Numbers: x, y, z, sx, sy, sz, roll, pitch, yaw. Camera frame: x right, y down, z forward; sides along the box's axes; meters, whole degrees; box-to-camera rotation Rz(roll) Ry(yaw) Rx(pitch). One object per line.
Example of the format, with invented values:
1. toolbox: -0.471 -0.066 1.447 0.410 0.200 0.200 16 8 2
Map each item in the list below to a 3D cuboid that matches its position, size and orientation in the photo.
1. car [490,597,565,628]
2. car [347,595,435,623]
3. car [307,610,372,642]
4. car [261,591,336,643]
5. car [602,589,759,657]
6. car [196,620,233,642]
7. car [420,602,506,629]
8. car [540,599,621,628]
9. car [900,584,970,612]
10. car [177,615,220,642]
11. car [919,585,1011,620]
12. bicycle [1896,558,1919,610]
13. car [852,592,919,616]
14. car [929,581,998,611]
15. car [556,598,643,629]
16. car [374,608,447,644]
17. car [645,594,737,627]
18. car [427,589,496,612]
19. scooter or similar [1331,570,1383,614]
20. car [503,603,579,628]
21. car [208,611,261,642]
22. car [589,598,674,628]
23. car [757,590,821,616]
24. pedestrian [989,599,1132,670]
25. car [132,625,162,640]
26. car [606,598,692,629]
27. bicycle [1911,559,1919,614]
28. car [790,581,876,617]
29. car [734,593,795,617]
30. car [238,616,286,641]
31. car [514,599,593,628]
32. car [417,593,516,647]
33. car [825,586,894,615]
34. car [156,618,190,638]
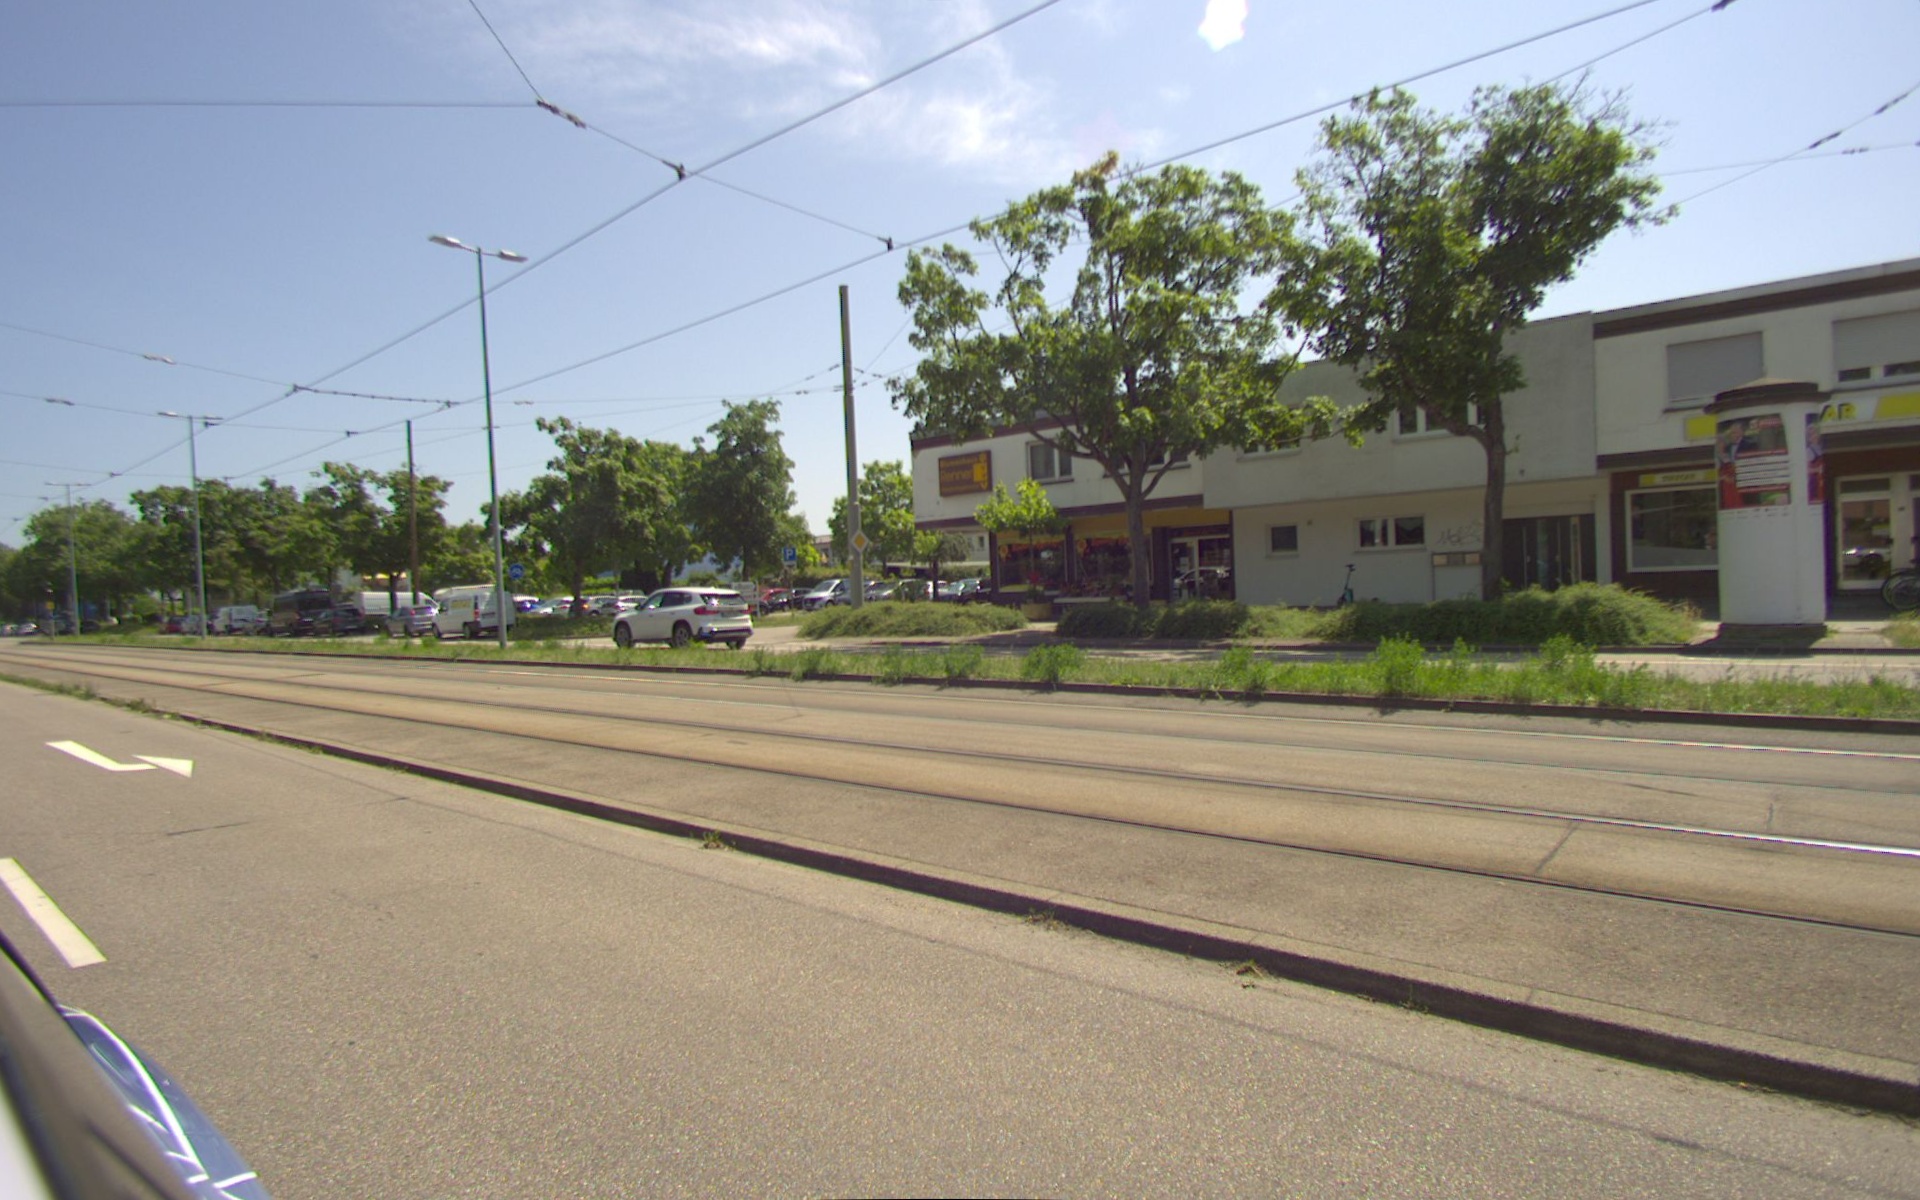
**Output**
1. car: -27.239 0.759 63.799 1.794 1.730 3.951 -2 1 37
2. car: -42.349 0.657 75.462 2.029 1.970 5.363 -1 0 42
3. car: -33.302 1.371 54.270 3.751 1.589 1.950 -1 0 42
4. car: -38.177 0.943 58.376 5.666 2.859 2.214 -1 0 42
5. car: -7.375 0.570 26.446 4.567 1.622 1.706 -1 0 41
6. car: -52.586 2.155 71.393 3.261 1.489 1.411 -1 0 41
7. car: -33.763 1.043 68.887 1.997 1.588 4.866 -2 1 38
8. car: -21.720 0.757 58.071 1.827 1.501 4.030 -2 1 34
9. car: -1.390 -0.131 57.627 1.661 1.531 3.943 -1 0 43
10. car: -56.095 2.054 74.520 4.494 1.907 1.614 -1 0 41
11. car: 0.269 0.084 43.365 1.682 1.306 3.944 -3 0 42
12. bicycle: 18.877 -0.315 19.096 1.758 0.986 0.533 -1 0 41
13. car: -4.286 0.243 58.610 1.764 1.294 3.675 -1 0 43
14. car: 0.216 -0.218 55.507 1.520 1.591 3.943 -1 0 43
15. car: -19.848 0.722 55.900 2.018 1.501 4.117 -2 1 34
16. car: -25.965 1.217 47.765 4.124 1.513 1.633 -1 4 42
17. car: -13.674 0.510 51.521 1.983 1.501 4.120 -2 1 39
18. car: -48.784 0.045 99.130 2.145 2.078 5.674 -1 0 38
19. scooter or similar: 10.933 -0.211 27.925 0.448 1.200 1.349 -1 0 -29
20. car: -25.508 0.938 61.723 1.794 1.417 3.950 -2 -1 37
21. car: -48.509 1.750 67.655 4.816 1.963 1.899 -1 0 42
22. car: -17.697 0.700 54.713 1.855 1.501 4.099 -1 0 34
23. car: -11.096 0.186 65.855 1.683 1.597 3.948 -1 0 39
24. pedestrian: 3.072 1.012 31.346 3.997 2.029 1.973 -1 0 40
25. car: -69.884 2.768 86.956 3.423 1.167 1.561 -1 0 43
26. car: -16.166 0.707 52.716 1.908 1.501 3.995 -1 0 34
27. bicycle: 18.211 -0.258 17.868 2.028 0.986 0.604 -1 0 41
28. car: -7.792 -0.088 62.414 2.225 2.085 5.055 -1 0 41
29. car: -13.105 0.325 68.096 1.712 1.505 3.953 -1 0 35
30. car: -44.059 1.786 63.855 3.608 1.475 1.744 -1 0 42
31. car: -23.832 0.801 59.431 1.862 1.499 3.955 -2 1 34
32. car: -21.333 0.850 43.649 5.342 2.025 1.856 -1 4 42
33. car: -6.012 0.010 60.764 1.804 1.669 3.943 -1 0 43
34. car: -61.160 2.157 78.639 3.423 1.491 1.561 -1 0 43
